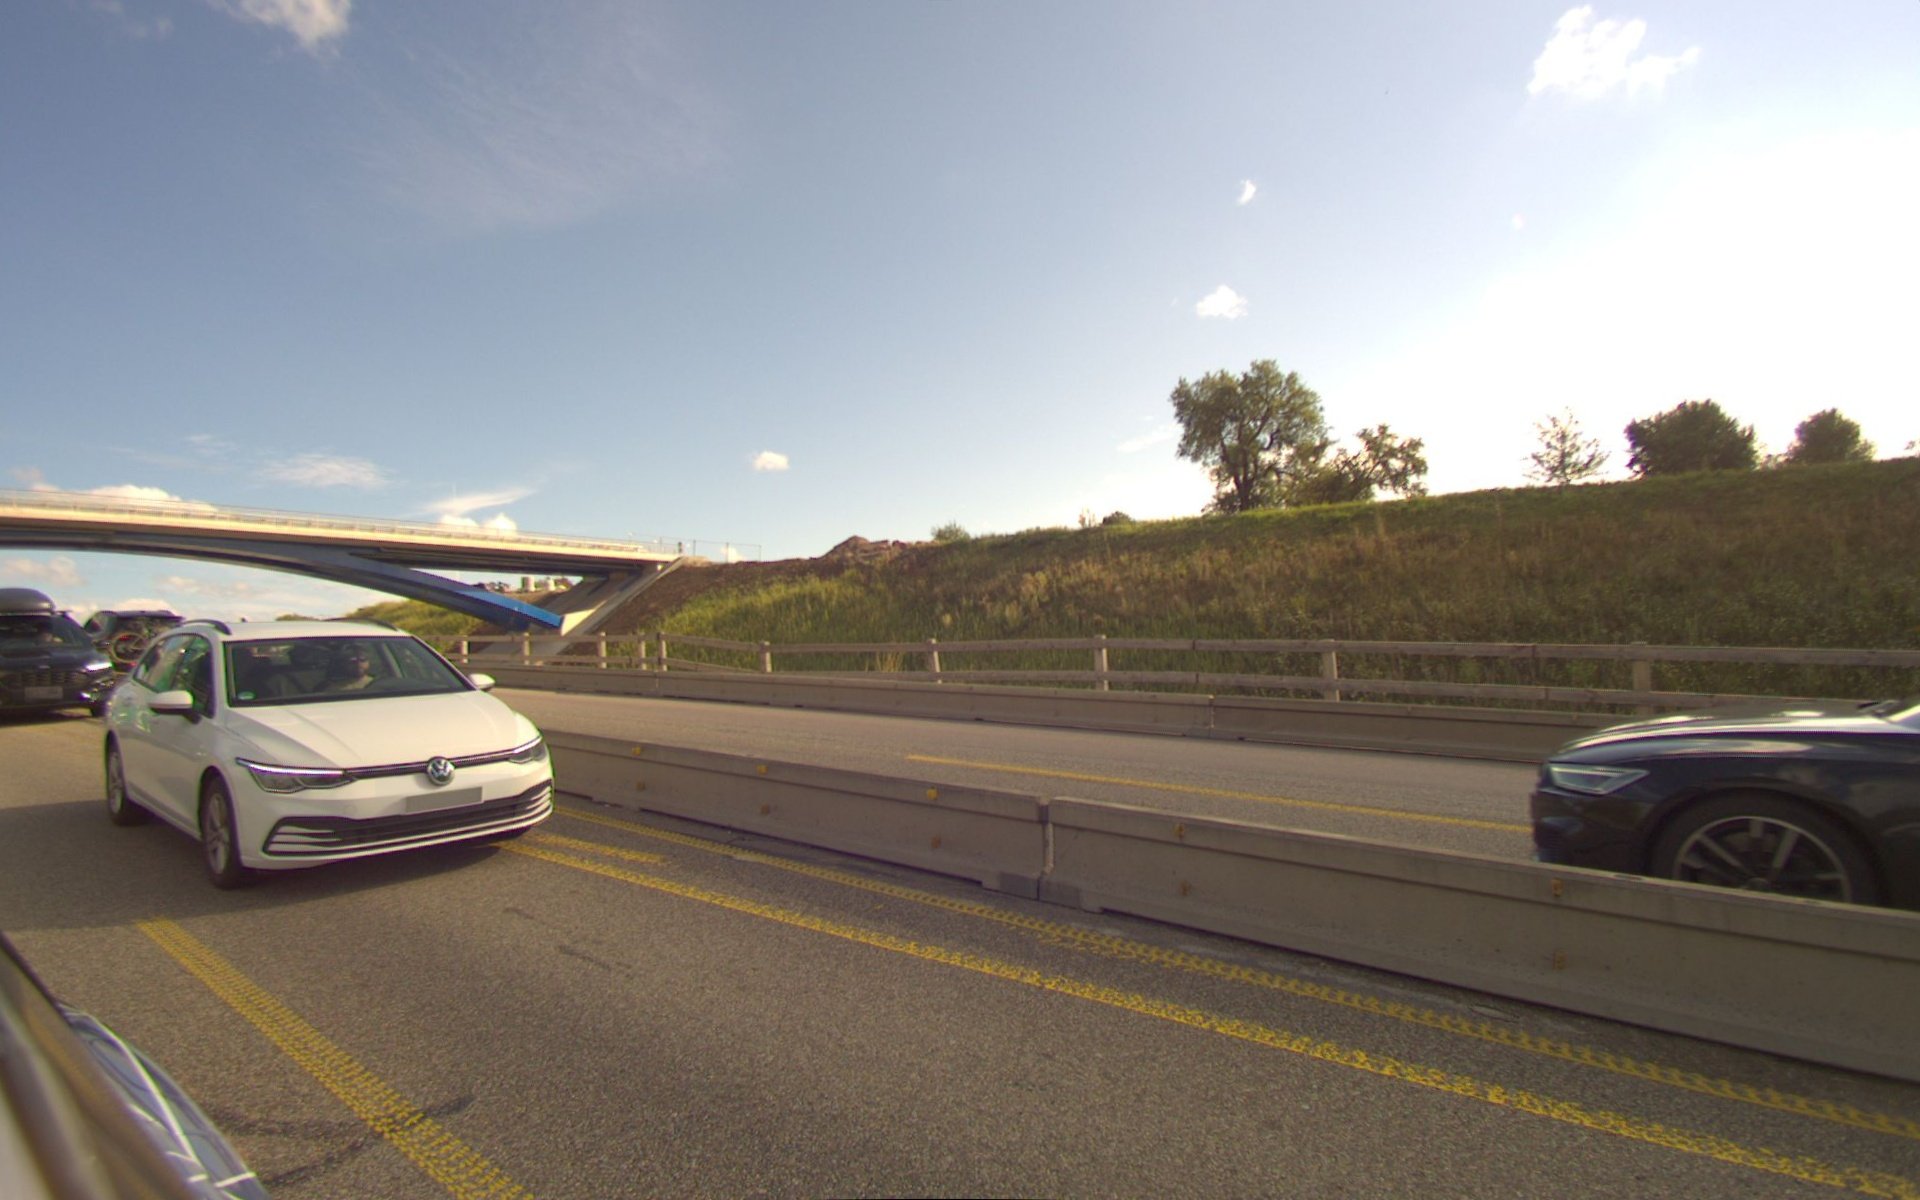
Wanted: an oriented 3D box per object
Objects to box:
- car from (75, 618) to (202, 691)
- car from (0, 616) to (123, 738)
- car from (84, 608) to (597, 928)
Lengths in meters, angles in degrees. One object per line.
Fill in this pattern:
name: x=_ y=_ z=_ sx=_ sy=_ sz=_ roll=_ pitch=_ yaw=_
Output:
car: x=-20.459 y=1.294 z=25.156 sx=3.998 sy=1.615 sz=1.802 roll=-2 pitch=-1 yaw=41
car: x=-14.847 y=1.135 z=15.994 sx=4.258 sy=1.689 sz=1.831 roll=-2 pitch=-1 yaw=41
car: x=-4.479 y=0.858 z=6.999 sx=4.372 sy=1.507 sz=1.802 roll=-2 pitch=-1 yaw=41
